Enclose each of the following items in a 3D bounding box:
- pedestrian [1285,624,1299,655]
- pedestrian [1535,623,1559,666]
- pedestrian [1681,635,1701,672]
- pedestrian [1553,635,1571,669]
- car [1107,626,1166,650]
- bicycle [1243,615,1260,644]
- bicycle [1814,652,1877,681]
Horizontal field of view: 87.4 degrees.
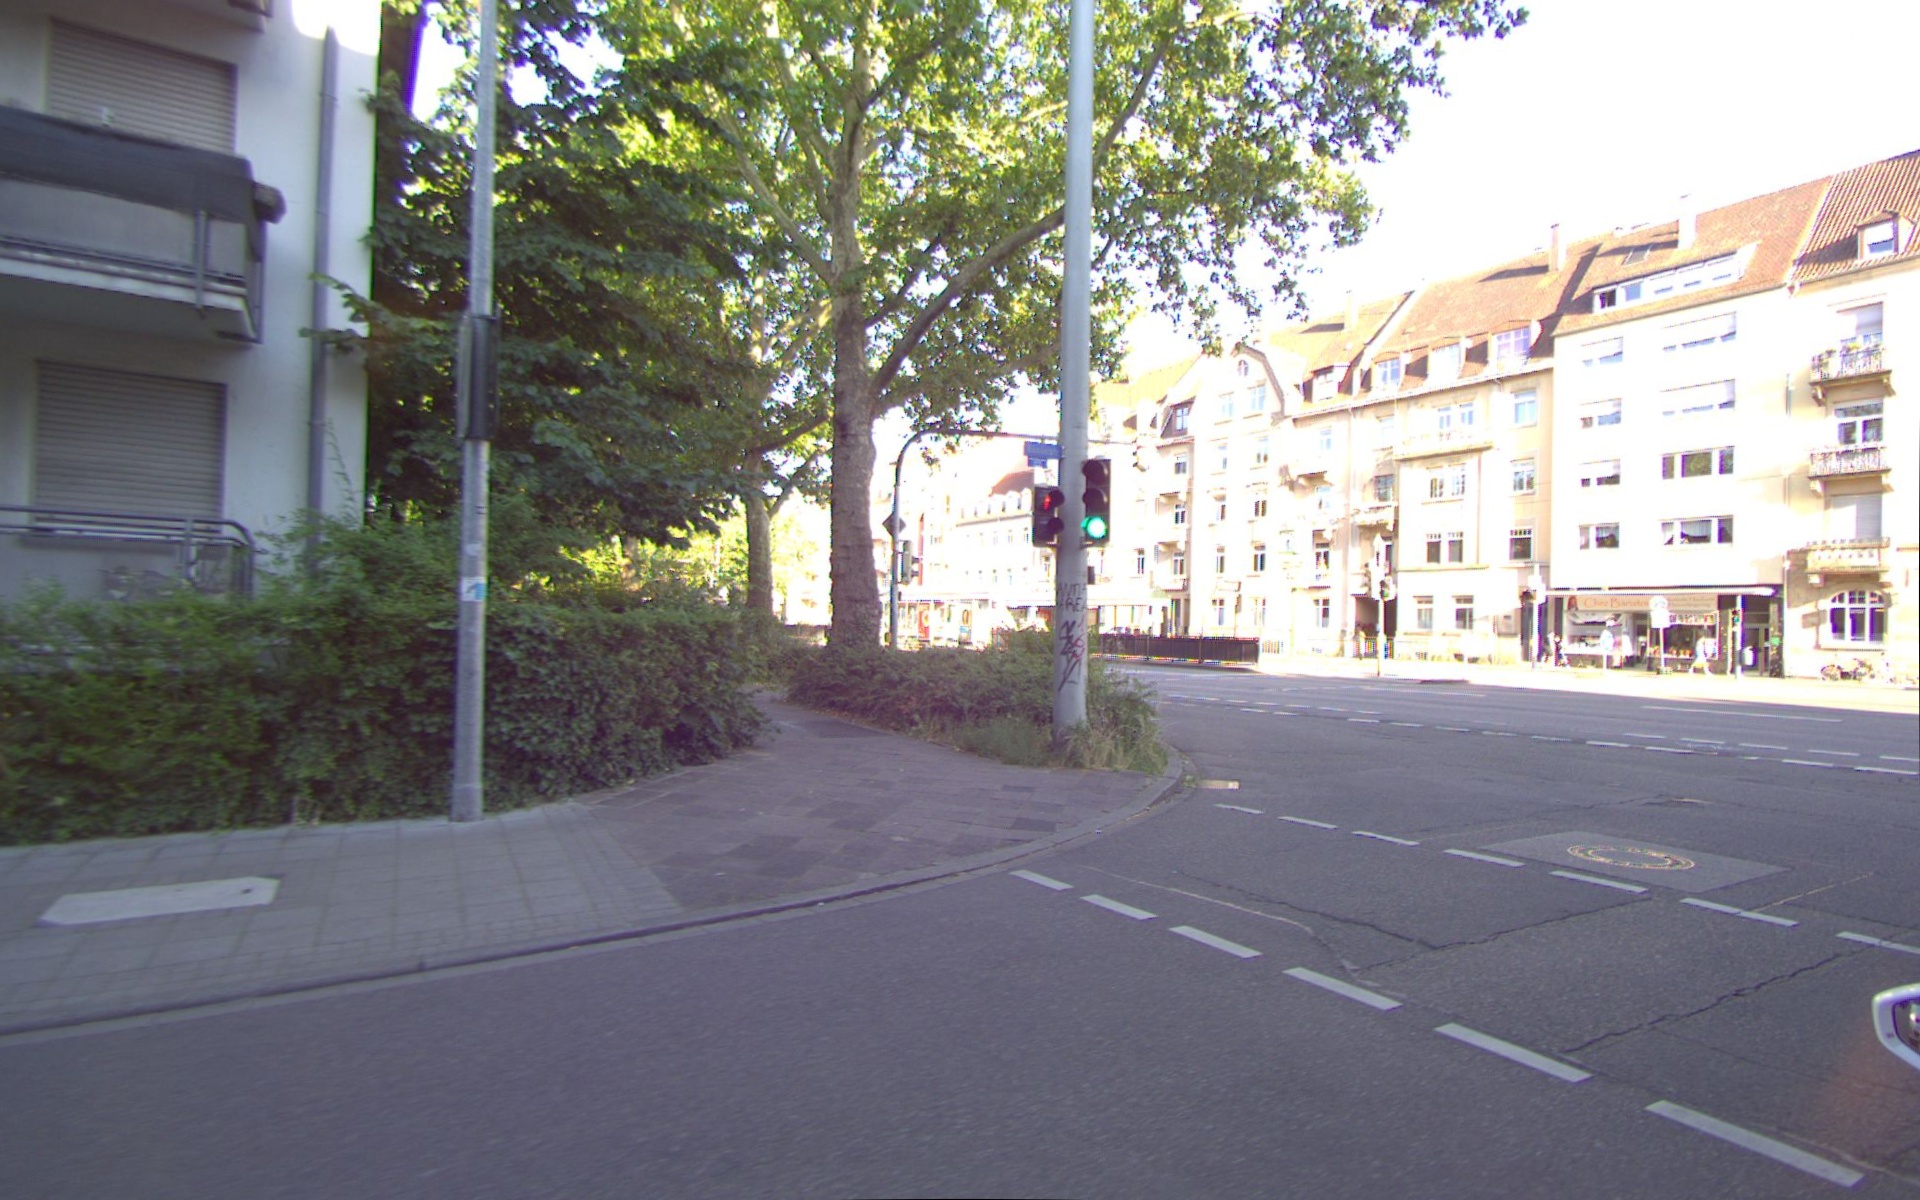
[{"bbox_3d":[20.380,2.438,61.691,0.633,1.862,0.473,2,0,-30],"label":"pedestrian"},{"bbox_3d":[28.109,2.124,48.082,0.758,2.040,0.665,2,-1,-24],"label":"pedestrian"},{"bbox_3d":[31.866,2.329,43.810,0.463,1.584,0.558,2,0,-36],"label":"pedestrian"},{"bbox_3d":[28.523,2.466,47.557,0.463,1.584,0.558,2,0,-36],"label":"pedestrian"},{"bbox_3d":[11.955,2.560,68.085,3.671,1.483,1.928,2,-1,-37],"label":"car"},{"bbox_3d":[18.212,1.862,62.742,0.553,1.760,0.882,2,0,-28],"label":"bicycle"},{"bbox_3d":[34.890,2.617,39.609,0.488,1.041,1.796,2,-1,-33],"label":"bicycle"}]
